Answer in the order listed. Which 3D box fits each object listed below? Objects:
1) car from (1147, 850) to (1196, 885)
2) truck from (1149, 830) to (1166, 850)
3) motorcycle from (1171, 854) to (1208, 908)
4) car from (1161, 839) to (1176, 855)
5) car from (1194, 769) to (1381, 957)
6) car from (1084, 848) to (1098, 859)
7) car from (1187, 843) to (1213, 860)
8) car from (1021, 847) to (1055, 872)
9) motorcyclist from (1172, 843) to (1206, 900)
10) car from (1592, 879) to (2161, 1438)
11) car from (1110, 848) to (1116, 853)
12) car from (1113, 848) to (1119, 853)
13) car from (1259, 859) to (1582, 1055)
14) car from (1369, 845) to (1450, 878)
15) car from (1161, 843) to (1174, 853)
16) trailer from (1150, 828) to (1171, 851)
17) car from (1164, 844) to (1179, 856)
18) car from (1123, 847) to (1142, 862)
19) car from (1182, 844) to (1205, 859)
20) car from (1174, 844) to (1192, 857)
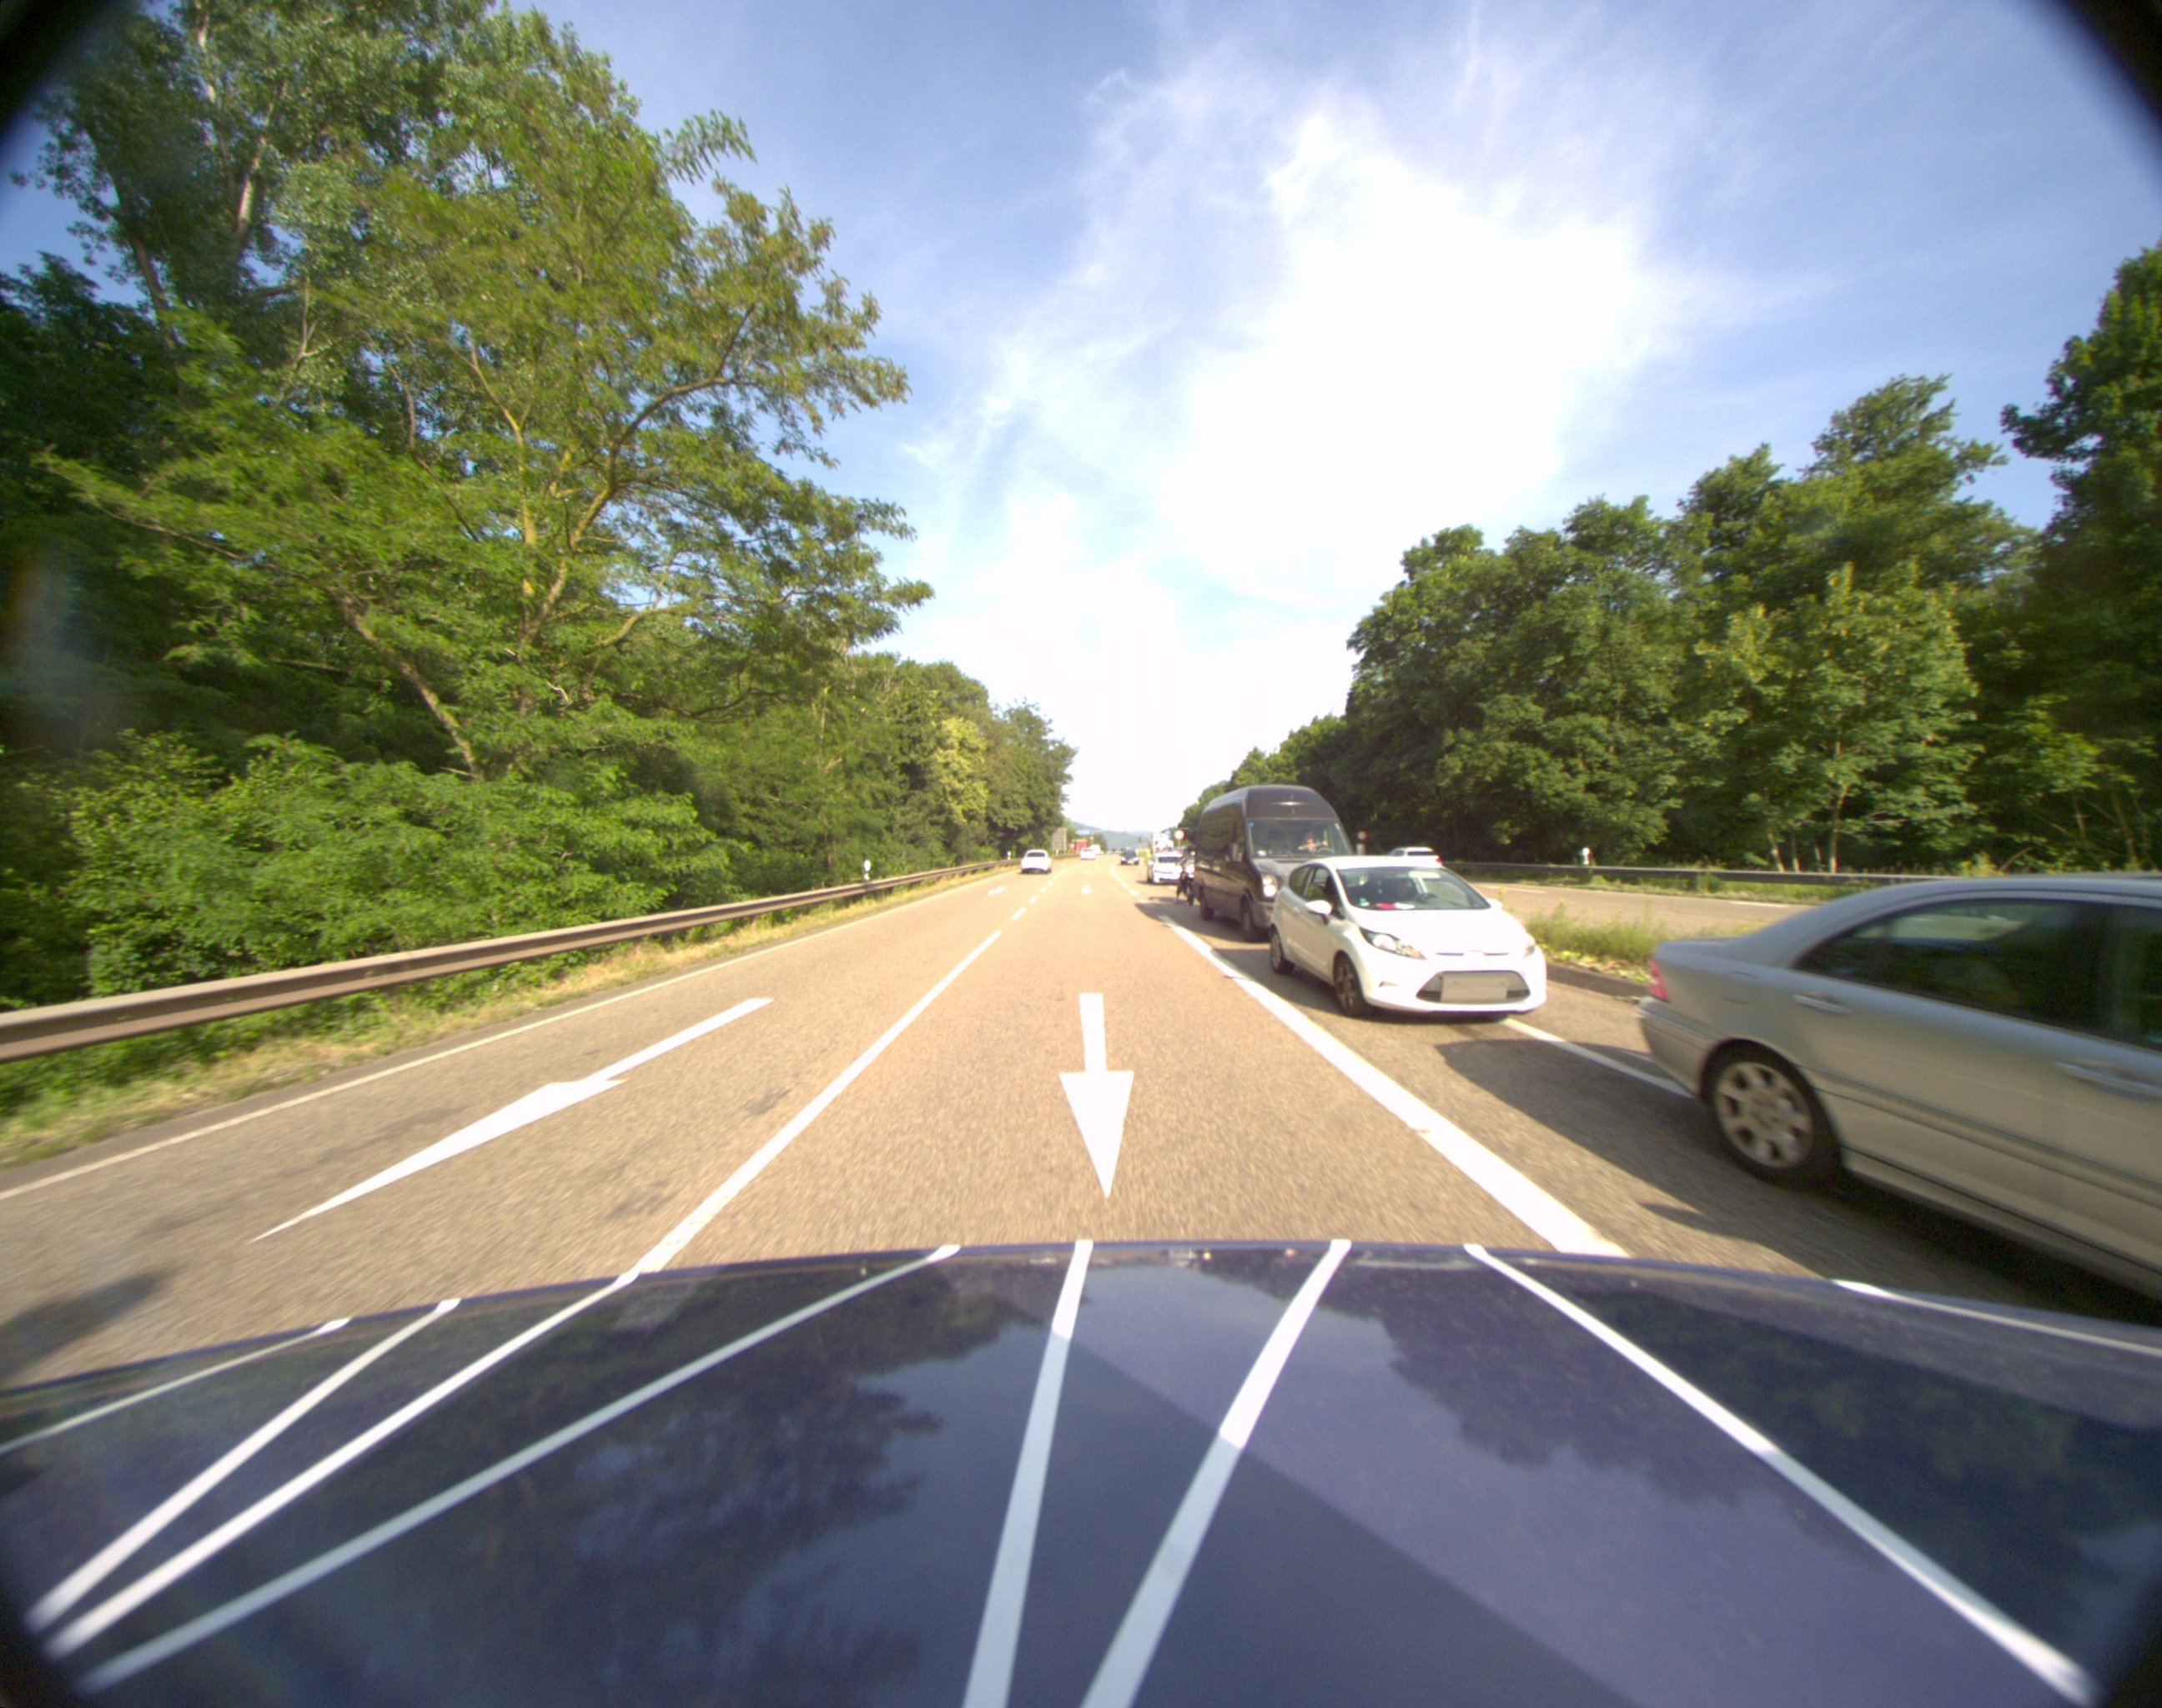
[{"bbox_3d":[4.186,0.569,35.886,1.874,1.513,4.834,-1,0,2],"label":"car"},{"bbox_3d":[15.555,-2.788,154.652,2.897,3.974,6.722,-2,1,2],"label":"truck"},{"bbox_3d":[3.161,0.749,22.303,0.910,1.445,2.690,2,1,6],"label":"motorcycle"},{"bbox_3d":[13.894,-1.155,121.328,2.079,2.519,6.165,0,1,4],"label":"car"},{"bbox_3d":[3.659,0.112,15.113,2.215,2.872,7.012,0,1,4],"label":"car"},{"bbox_3d":[1.473,-0.086,111.020,1.998,1.632,4.000,-2,0,1],"label":"car"},{"bbox_3d":[10.381,-0.204,66.449,1.872,1.409,4.416,0,1,4],"label":"car"},{"bbox_3d":[-2.855,0.353,51.302,1.874,1.625,4.834,0,1,2],"label":"car"},{"bbox_3d":[3.161,0.490,22.345,0.885,1.606,1.290,-2,1,6],"label":"motorcyclist"},{"bbox_3d":[3.781,0.867,1.993,1.739,1.413,4.802,0,0,2],"label":"car"},{"bbox_3d":[9.008,-0.996,212.389,1.498,1.346,3.554,-2,0,1],"label":"car"},{"bbox_3d":[9.376,-0.919,204.690,1.498,1.346,3.554,-2,0,1],"label":"car"},{"bbox_3d":[3.133,0.817,7.998,1.649,1.481,4.104,0,1,2],"label":"car"},{"bbox_3d":[15.531,0.321,36.188,1.888,1.494,4.263,0,0,-2],"label":"car"},{"bbox_3d":[12.833,-0.853,112.947,1.764,1.448,5.186,0,0,4],"label":"car"},{"bbox_3d":[15.223,-2.719,146.685,2.998,3.973,14.015,-2,0,3],"label":"trailer"},{"bbox_3d":[12.582,-0.570,106.152,1.775,1.659,4.801,0,1,4],"label":"car"},{"bbox_3d":[5.306,0.048,78.691,1.861,1.452,4.570,-2,0,3],"label":"car"},{"bbox_3d":[10.610,-0.258,71.988,1.771,1.409,4.435,0,1,4],"label":"car"},{"bbox_3d":[11.270,-0.418,83.888,1.710,1.415,4.212,0,1,4],"label":"car"}]
